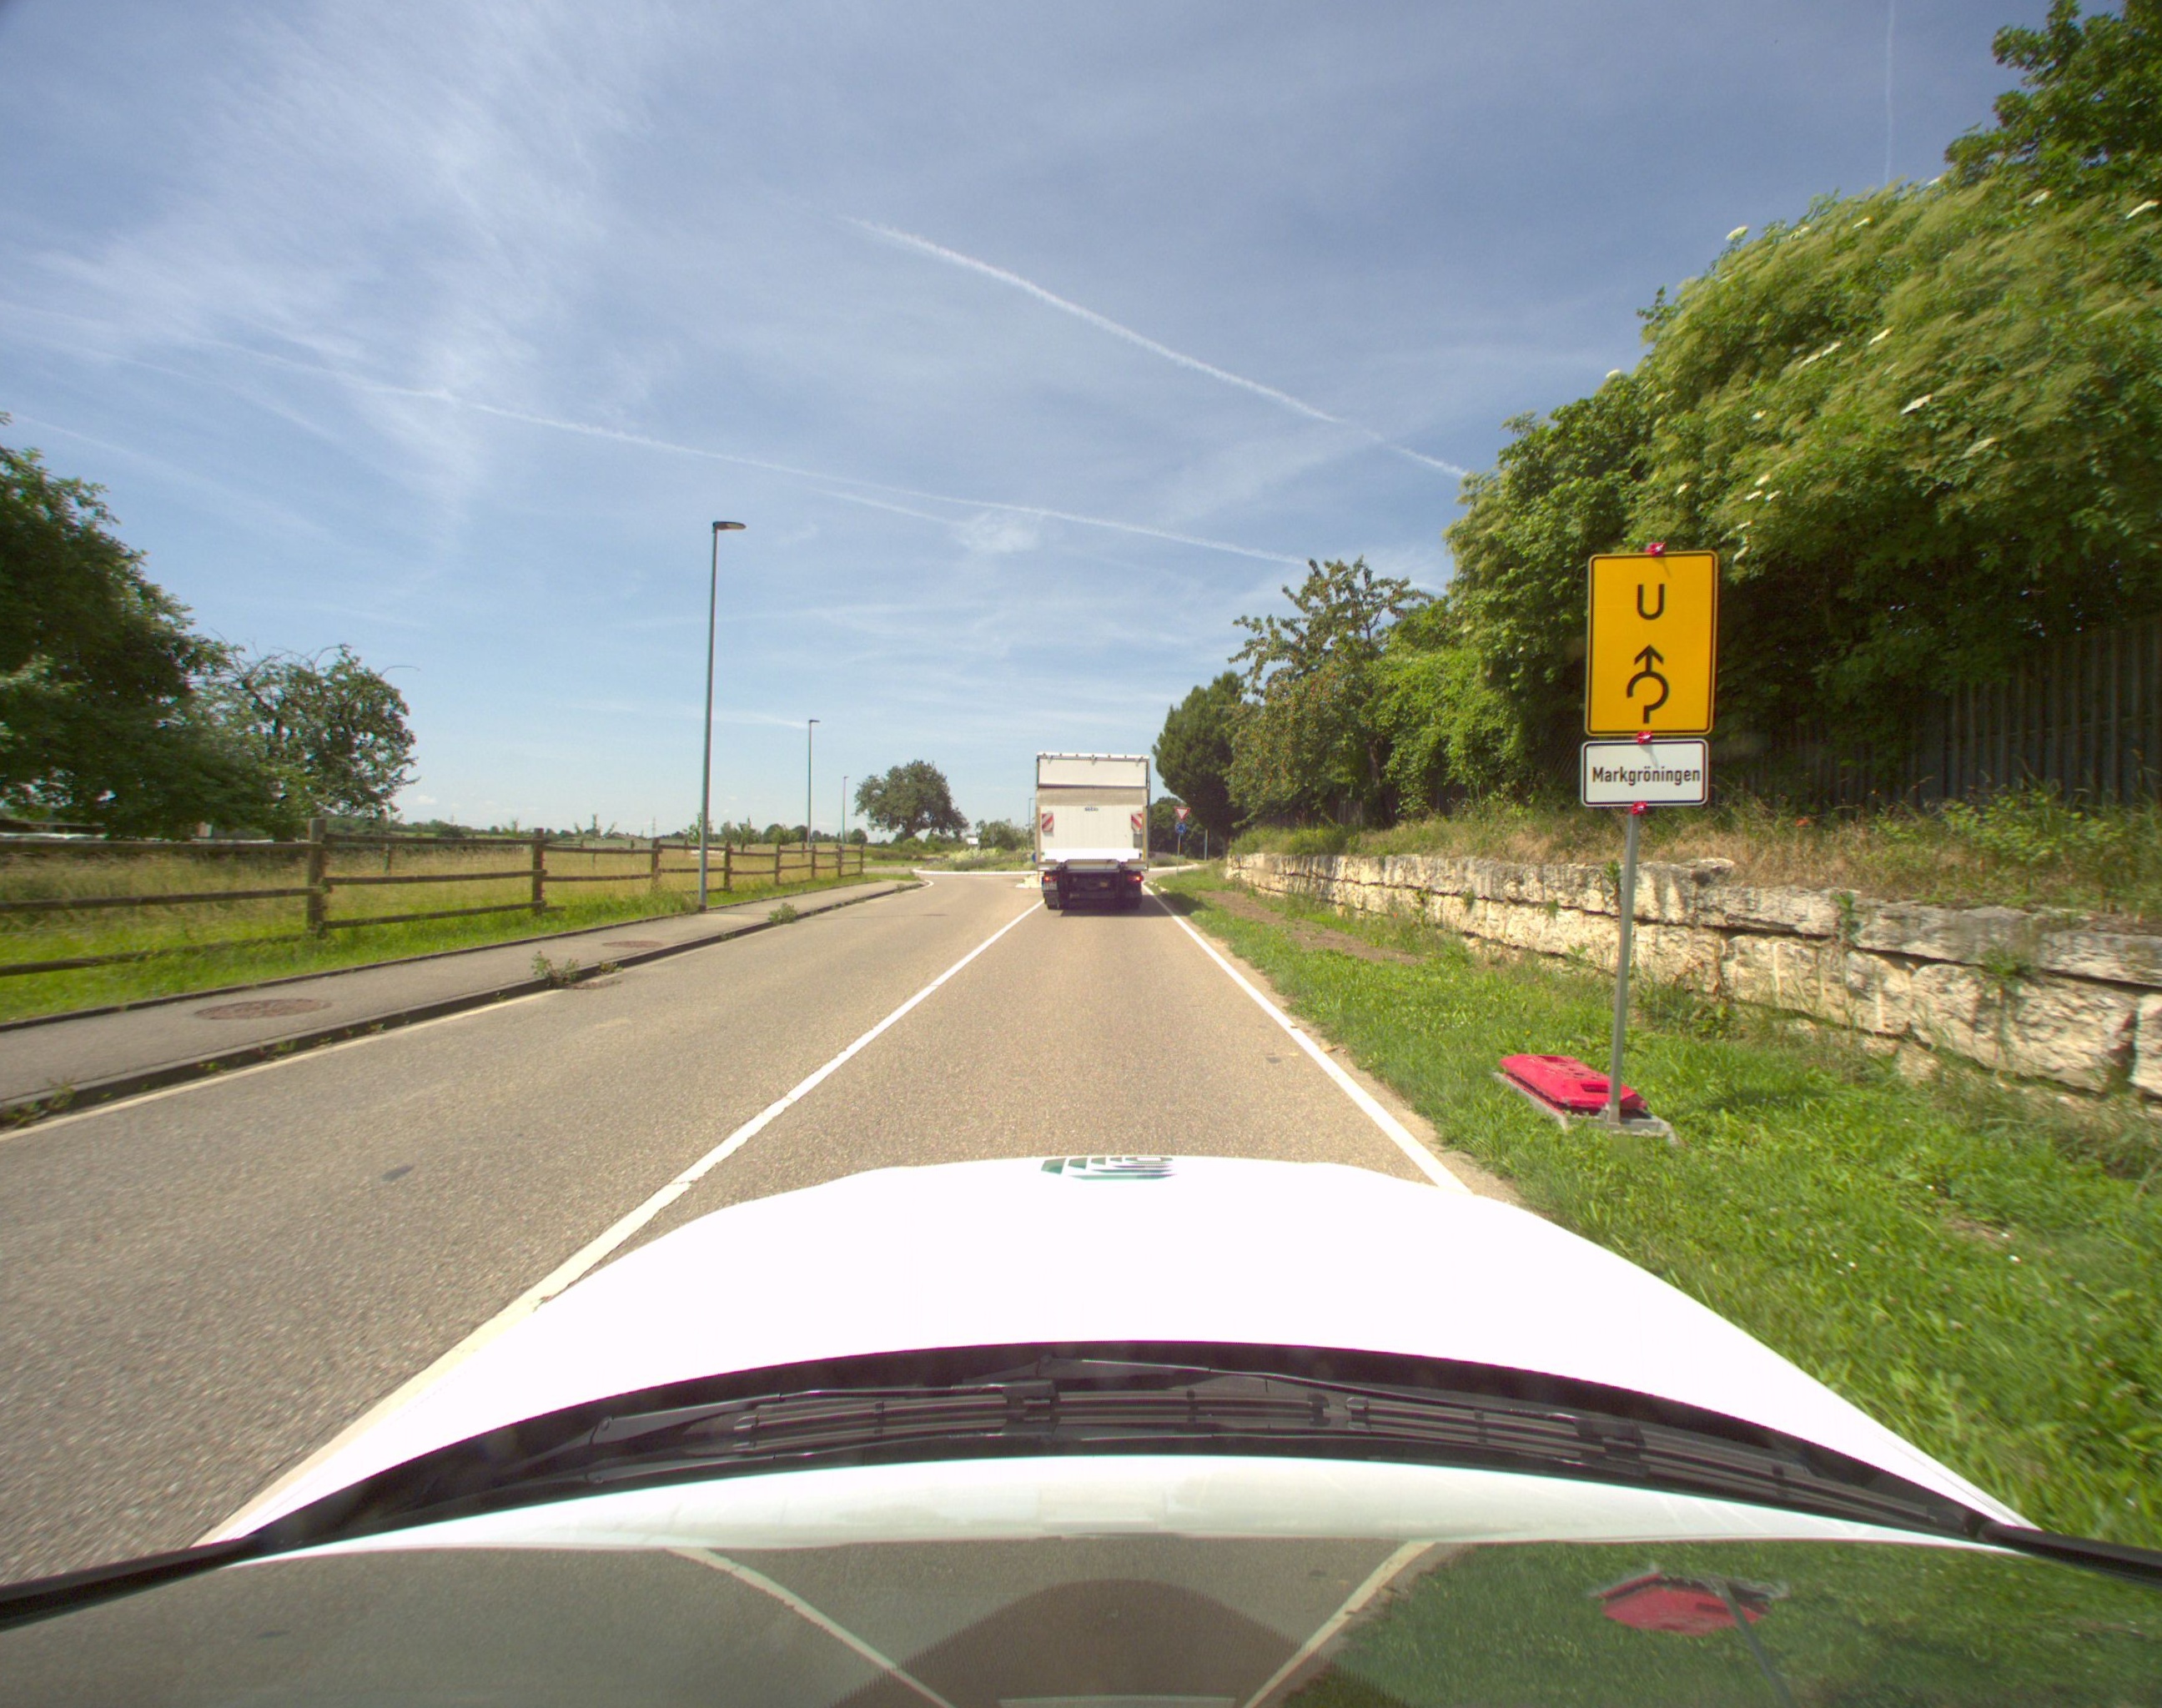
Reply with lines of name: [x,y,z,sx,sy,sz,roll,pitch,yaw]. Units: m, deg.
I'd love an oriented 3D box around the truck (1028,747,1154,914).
truck: [0.273,-0.549,22.658,2.757,3.670,9.383,0,0,0]
